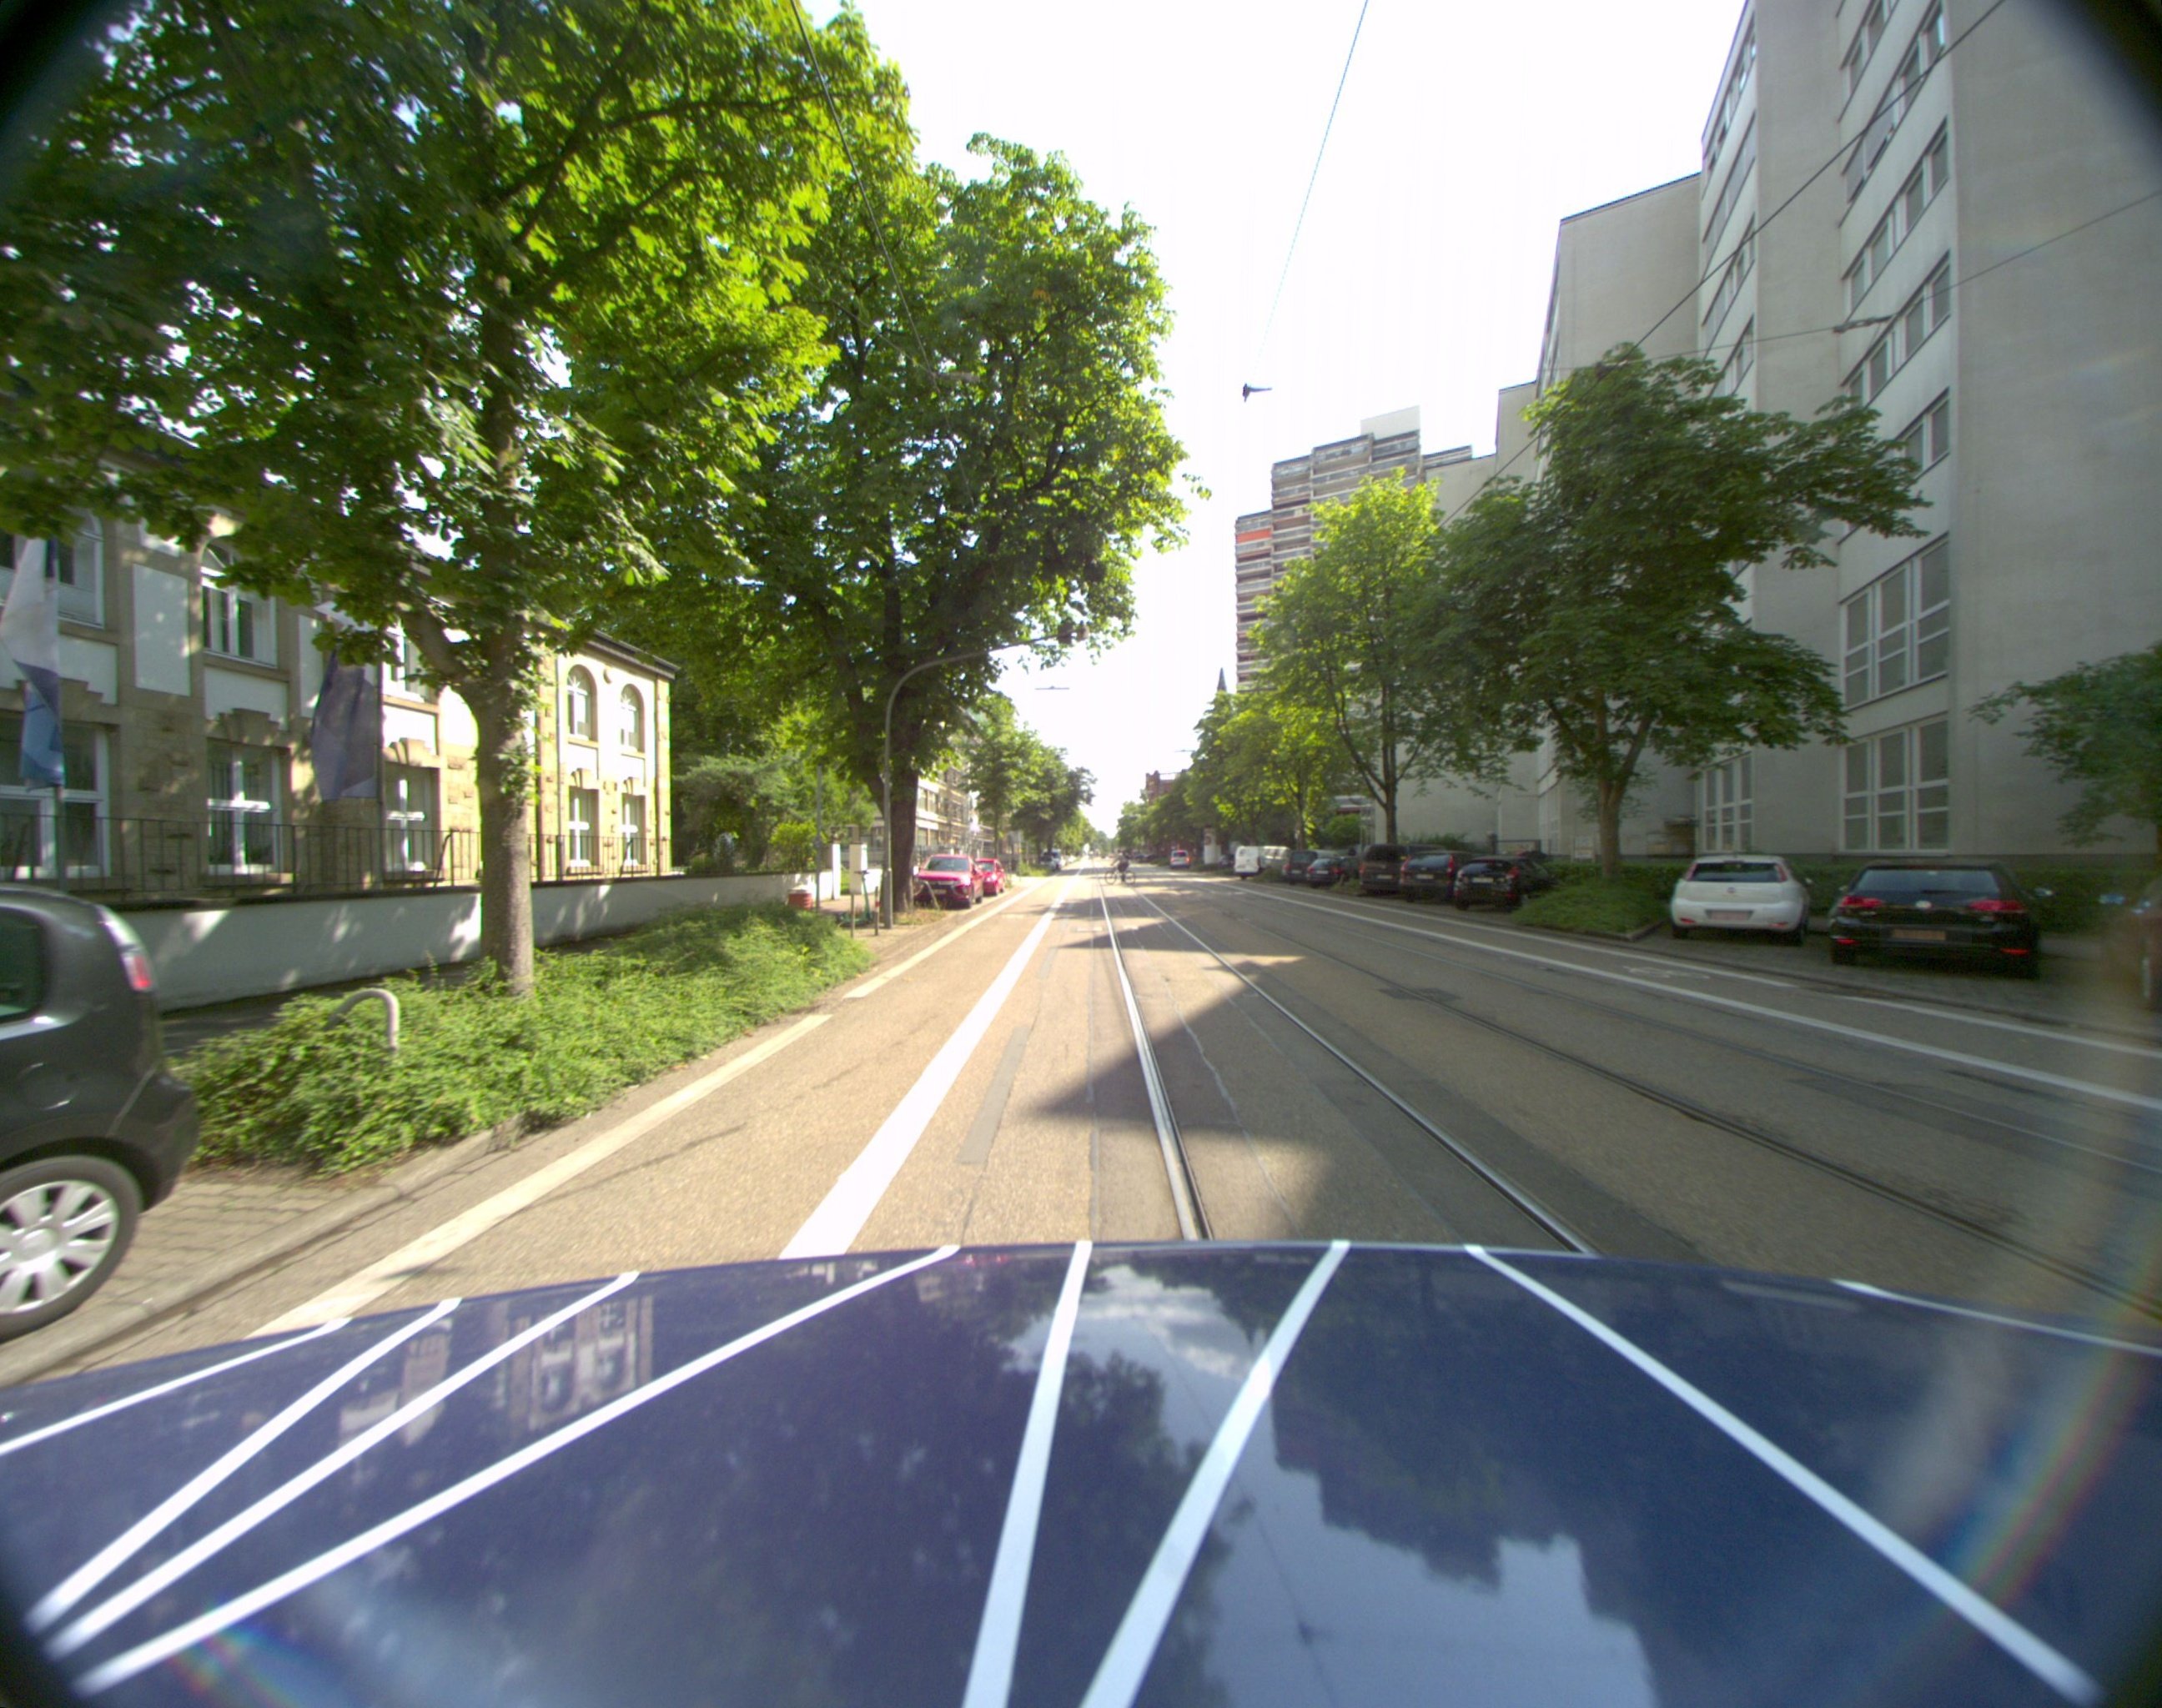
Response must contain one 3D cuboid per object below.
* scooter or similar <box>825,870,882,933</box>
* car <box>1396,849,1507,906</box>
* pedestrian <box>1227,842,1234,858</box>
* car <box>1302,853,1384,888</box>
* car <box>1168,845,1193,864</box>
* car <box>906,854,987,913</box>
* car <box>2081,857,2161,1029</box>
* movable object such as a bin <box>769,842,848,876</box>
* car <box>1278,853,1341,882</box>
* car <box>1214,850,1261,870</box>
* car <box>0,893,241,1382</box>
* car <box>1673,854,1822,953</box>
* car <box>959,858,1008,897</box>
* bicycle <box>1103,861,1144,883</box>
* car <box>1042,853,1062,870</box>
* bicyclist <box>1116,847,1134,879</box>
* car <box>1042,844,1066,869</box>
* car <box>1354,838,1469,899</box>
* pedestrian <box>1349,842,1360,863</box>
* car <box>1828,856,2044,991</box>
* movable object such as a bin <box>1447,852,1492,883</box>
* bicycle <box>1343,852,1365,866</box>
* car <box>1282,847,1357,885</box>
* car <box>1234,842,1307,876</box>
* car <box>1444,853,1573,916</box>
[{"bbox_3d":[-4.699,0.959,15.732,0.341,1.230,1.262,3,1,25],"label":"scooter or similar"},{"bbox_3d":[11.444,0.697,23.376,4.009,1.583,1.735,1,1,-44],"label":"car"},{"bbox_3d":[17.262,-0.457,87.773,0.523,1.745,0.636,-1,4,24],"label":"pedestrian"},{"bbox_3d":[11.395,0.699,32.969,1.755,1.409,4.009,2,1,45],"label":"car"},{"bbox_3d":[10.431,0.060,79.924,1.892,1.841,4.235,-4,1,-1],"label":"car"},{"bbox_3d":[-4.144,0.848,24.099,1.881,1.666,4.281,1,0,-1],"label":"car"},{"bbox_3d":[11.354,0.815,7.234,3.979,1.475,1.841,1,1,-42],"label":"car"},{"bbox_3d":[-21.007,0.431,58.807,1.994,2.429,5.446,-1,-2,42],"label":"movable object such as a bin"},{"bbox_3d":[12.027,0.696,39.918,1.717,1.409,4.009,2,1,39],"label":"car"},{"bbox_3d":[12.340,0.442,59.681,1.737,1.514,3.893,-1,0,45],"label":"car"},{"bbox_3d":[-4.455,0.983,1.155,1.701,1.582,4.202,1,1,0],"label":"car"},{"bbox_3d":[12.017,0.791,13.616,3.816,1.475,1.692,1,1,-44],"label":"car"},{"bbox_3d":[-3.993,0.935,31.566,1.604,1.420,3.595,2,1,-1],"label":"car"},{"bbox_3d":[2.145,0.892,38.295,1.995,1.034,0.658,0,1,25],"label":"bicycle"},{"bbox_3d":[-2.912,0.725,76.648,1.750,1.597,4.235,-4,1,0],"label":"car"},{"bbox_3d":[2.225,0.450,38.247,0.740,1.567,0.644,1,1,25],"label":"bicyclist"},{"bbox_3d":[-3.055,0.246,87.247,2.337,2.545,5.389,-4,1,0],"label":"car"},{"bbox_3d":[11.769,0.480,26.863,1.911,1.943,5.180,2,1,45],"label":"car"},{"bbox_3d":[21.888,-0.122,60.813,0.642,1.615,0.661,-2,2,-7],"label":"pedestrian"},{"bbox_3d":[11.692,0.807,10.344,3.815,1.475,1.693,1,1,-39],"label":"car"},{"bbox_3d":[17.010,0.579,33.275,1.171,1.276,1.441,2,1,0],"label":"movable object such as a bin"},{"bbox_3d":[21.608,0.390,60.111,1.576,1.074,0.543,-1,-2,25],"label":"bicycle"},{"bbox_3d":[11.446,0.565,36.401,3.723,1.683,1.755,1,1,-43],"label":"car"},{"bbox_3d":[11.516,0.274,45.987,4.695,1.986,1.963,-1,0,-41],"label":"car"},{"bbox_3d":[11.436,0.762,20.232,4.009,1.475,1.736,1,1,-42],"label":"car"}]
